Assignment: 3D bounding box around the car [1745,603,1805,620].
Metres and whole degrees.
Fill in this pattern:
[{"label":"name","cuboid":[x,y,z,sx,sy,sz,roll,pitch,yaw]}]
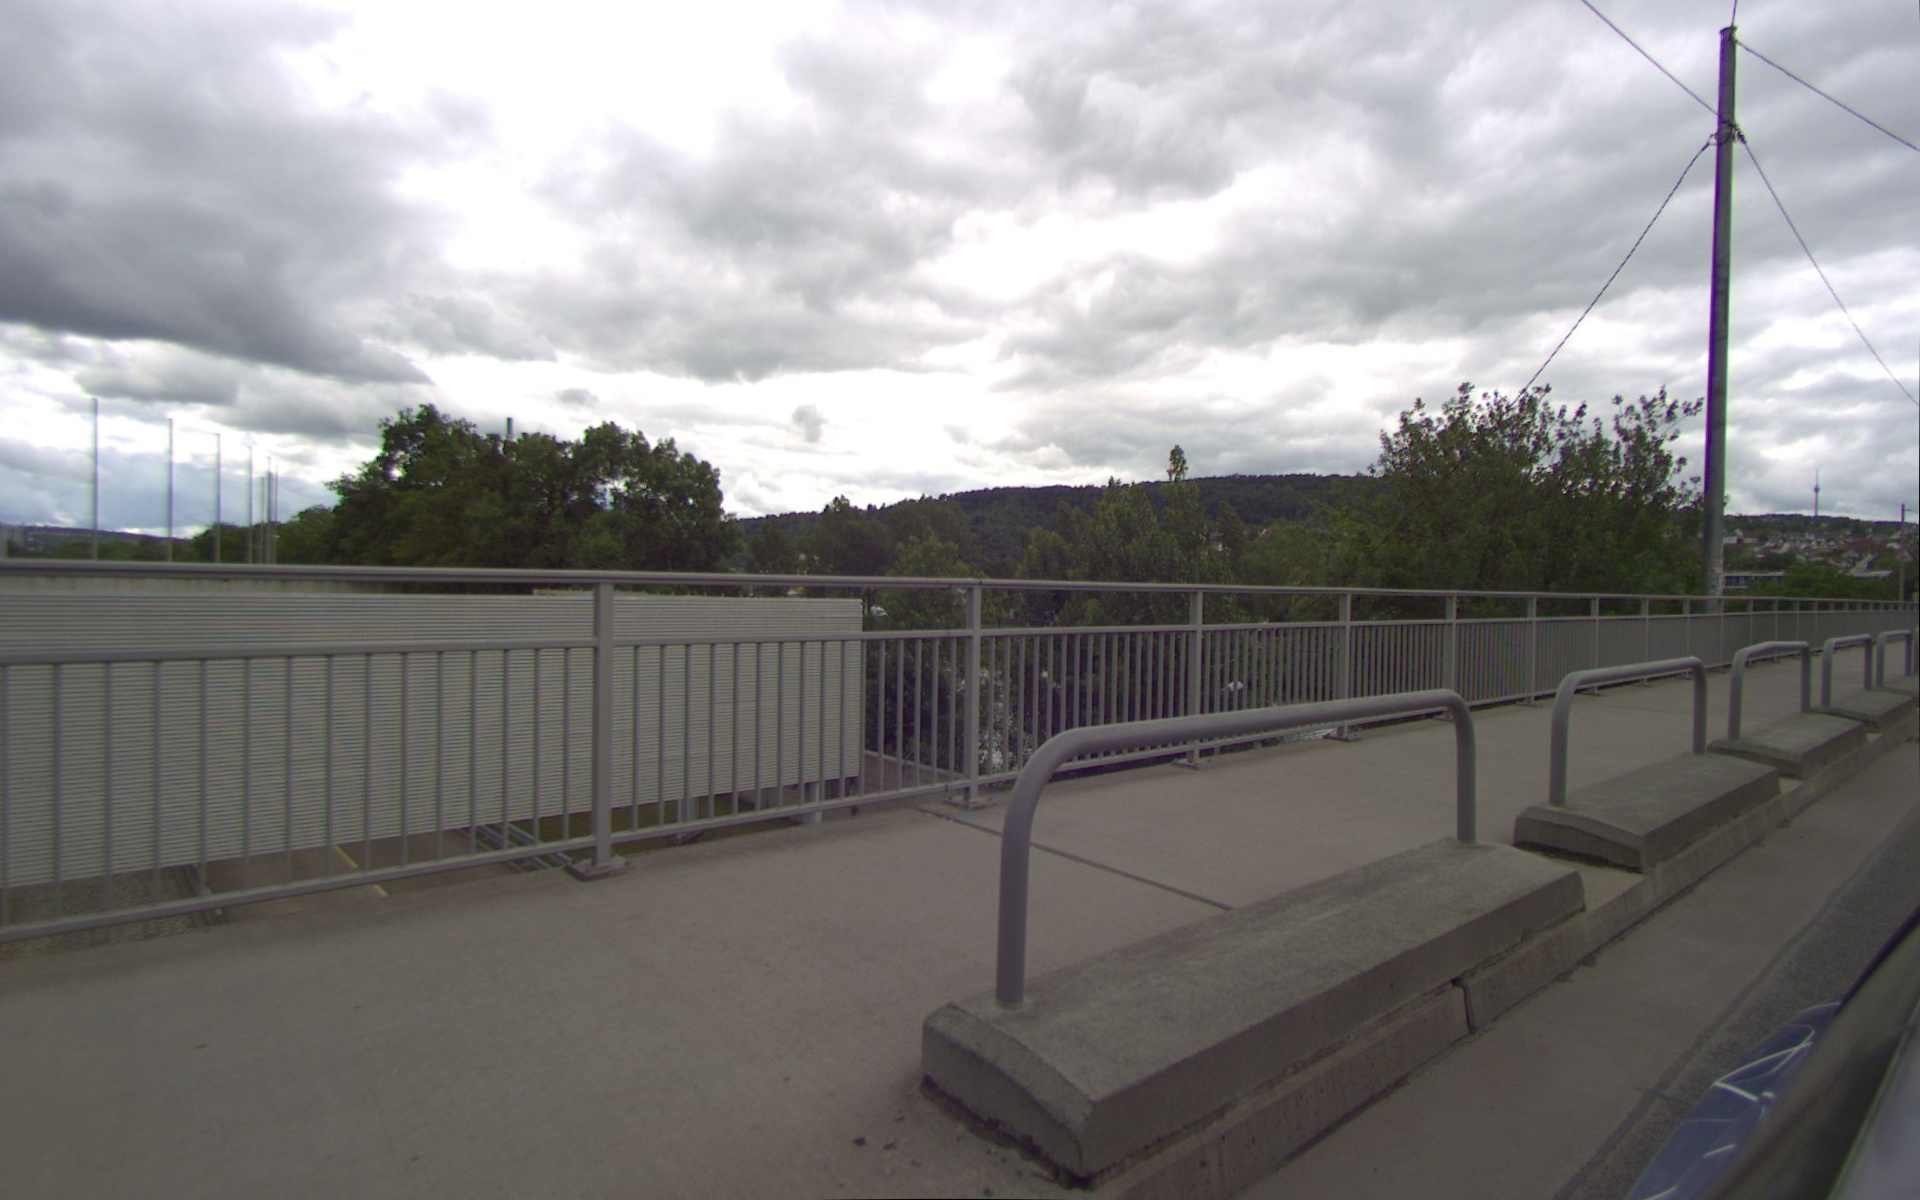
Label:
[{"label":"car","cuboid":[80.879,1.139,100.498,1.965,1.640,4.335,-1,0,-41]}]
